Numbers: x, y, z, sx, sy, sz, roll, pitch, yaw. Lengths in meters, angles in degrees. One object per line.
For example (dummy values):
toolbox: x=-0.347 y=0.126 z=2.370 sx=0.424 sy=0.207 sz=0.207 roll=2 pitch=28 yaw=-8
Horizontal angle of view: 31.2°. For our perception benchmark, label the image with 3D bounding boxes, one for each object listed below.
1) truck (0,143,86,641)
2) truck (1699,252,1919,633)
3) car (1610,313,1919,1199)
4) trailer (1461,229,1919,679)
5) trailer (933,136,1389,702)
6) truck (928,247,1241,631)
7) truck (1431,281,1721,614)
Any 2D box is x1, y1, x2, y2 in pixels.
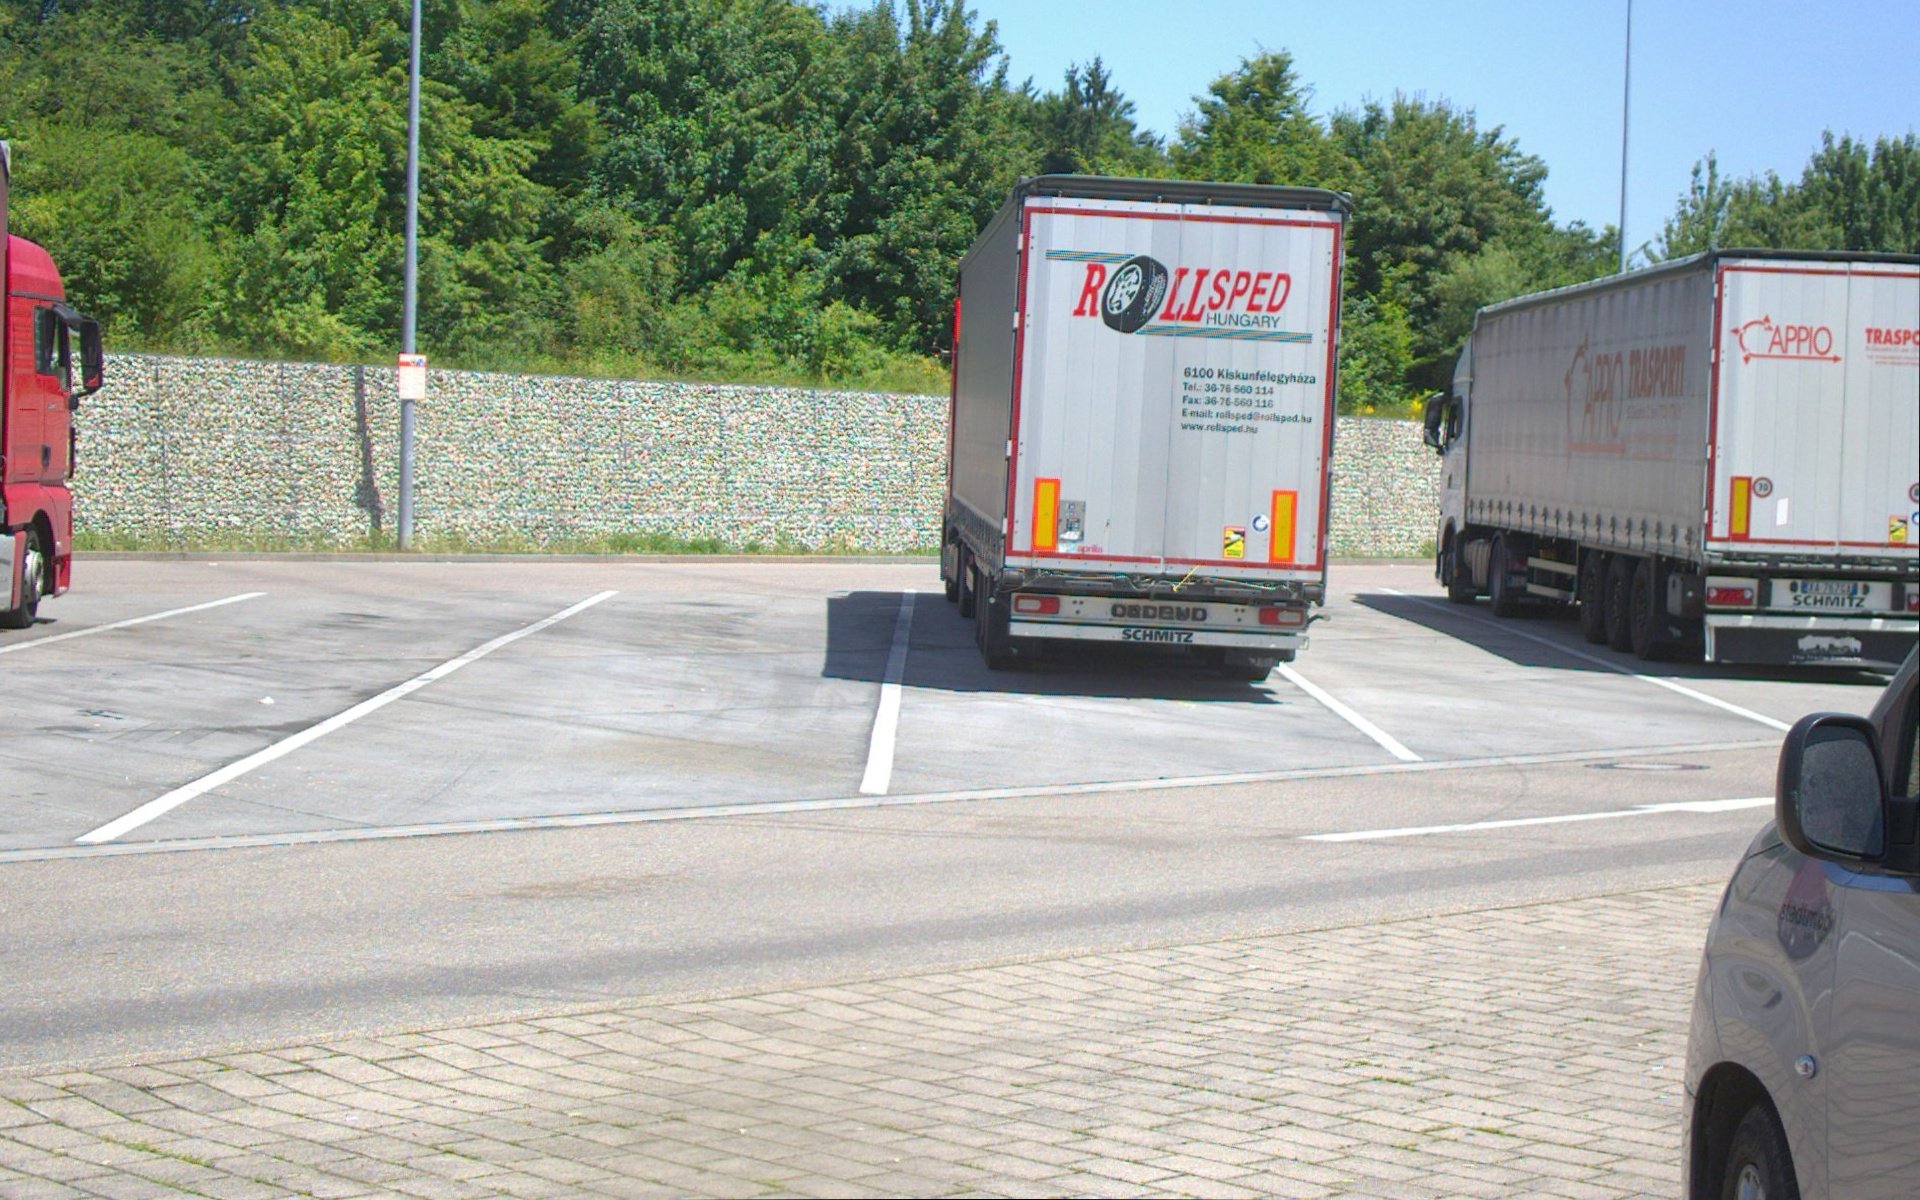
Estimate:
truck: x=-9.227 y=-1.697 z=27.642 sx=2.743 sy=4.067 sz=6.830 roll=1 pitch=2 yaw=-1
truck: x=11.748 y=-1.739 z=39.784 sx=2.904 sy=4.110 sz=14.528 roll=3 pitch=2 yaw=-1
car: x=2.139 y=0.544 z=3.780 sx=1.825 sy=1.747 sz=4.001 roll=1 pitch=2 yaw=-4
trailer: x=8.145 y=-1.571 z=38.459 sx=2.876 sy=4.110 sz=13.572 roll=1 pitch=2 yaw=-1
trailer: x=1.482 y=-1.693 z=32.623 sx=3.069 sy=4.213 sz=12.810 roll=2 pitch=3 yaw=-2
truck: x=1.268 y=-1.852 z=39.392 sx=3.026 sy=3.915 sz=6.847 roll=2 pitch=3 yaw=-2
truck: x=8.032 y=-1.987 z=45.455 sx=2.757 sy=4.110 sz=5.285 roll=1 pitch=2 yaw=-1
